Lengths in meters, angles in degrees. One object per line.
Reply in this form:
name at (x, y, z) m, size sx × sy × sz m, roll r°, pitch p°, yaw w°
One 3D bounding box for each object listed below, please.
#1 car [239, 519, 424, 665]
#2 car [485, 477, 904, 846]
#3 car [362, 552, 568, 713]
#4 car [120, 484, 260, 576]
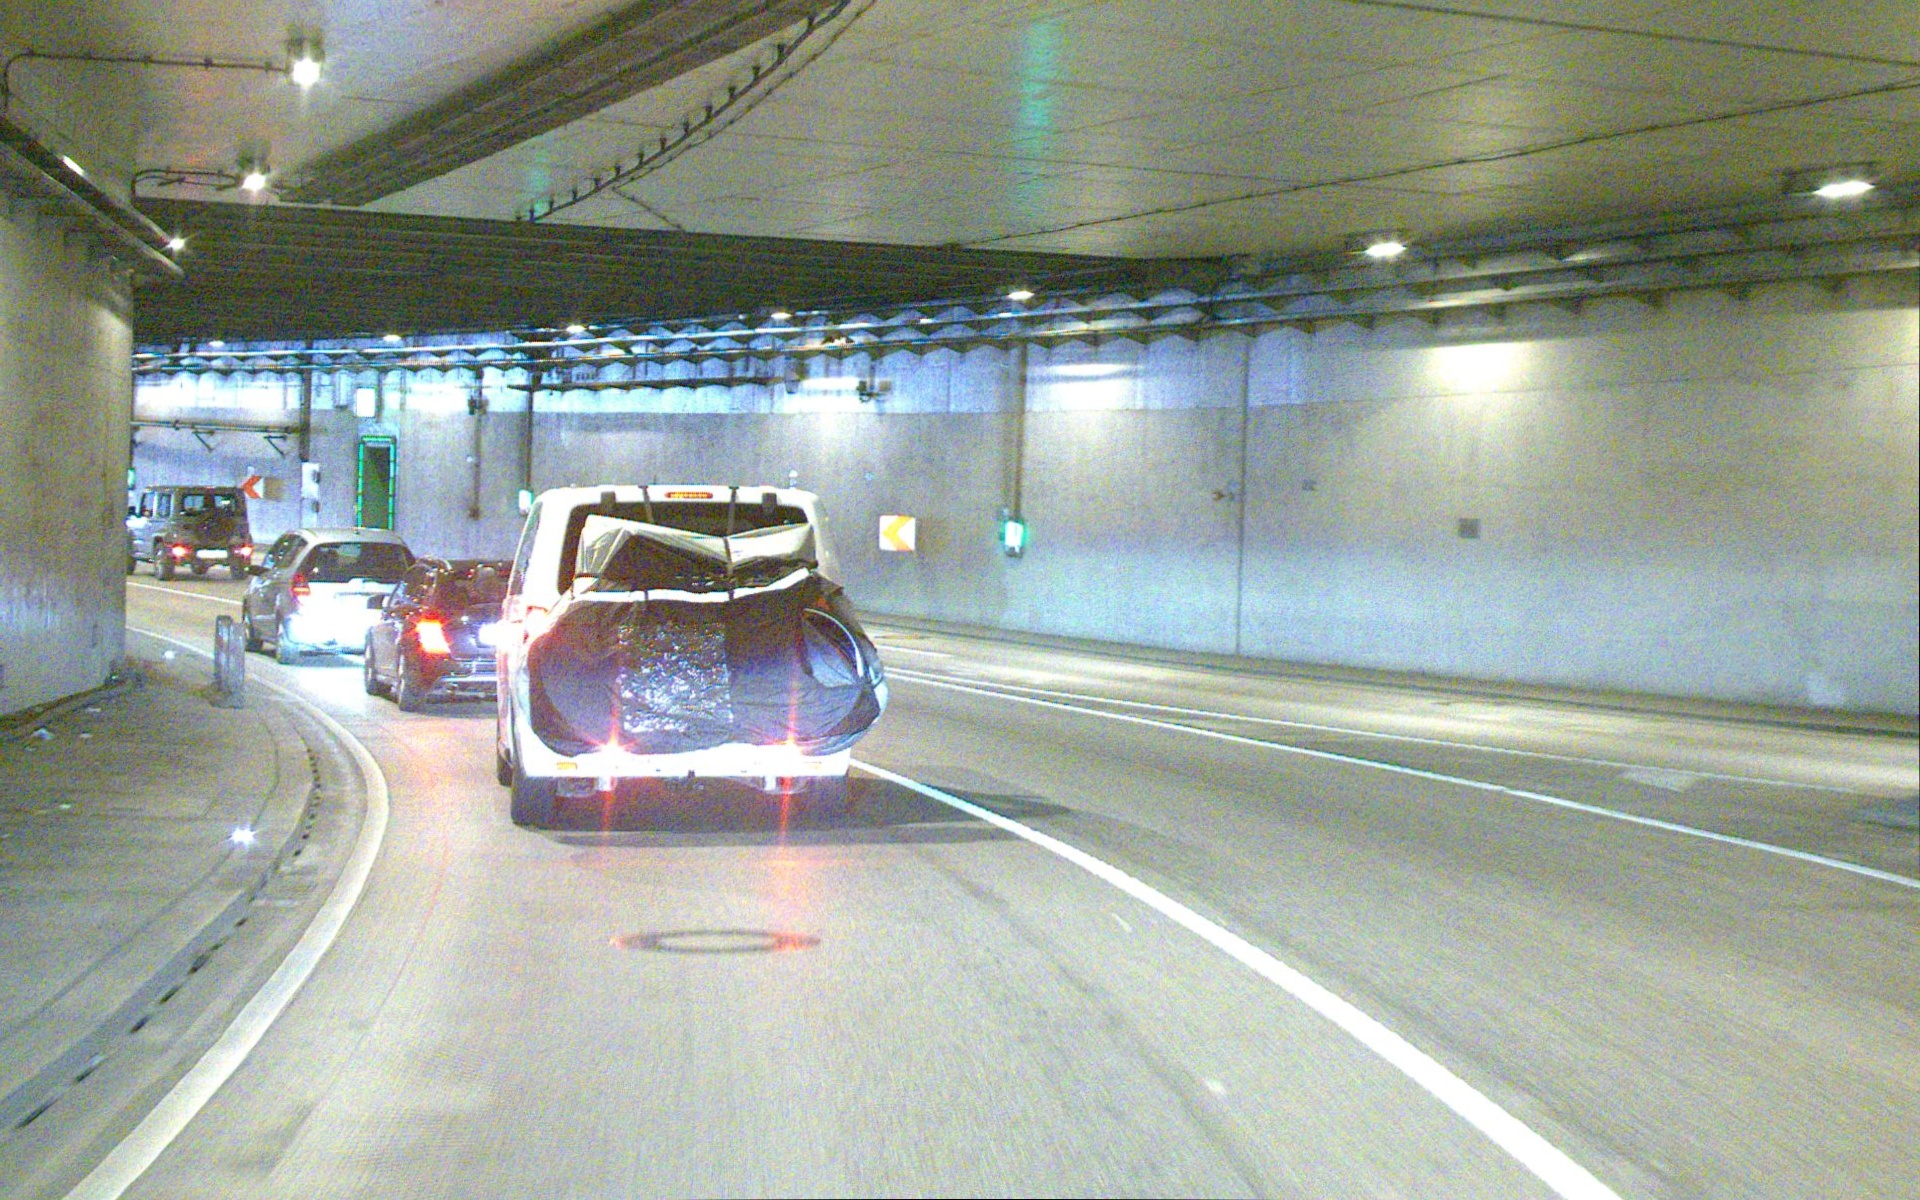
car at (-7.484, -0.102, 40.748) m, size 1.602 × 1.588 × 3.356 m, roll 3°, pitch 0°, yaw -19°
car at (-1.690, 0.269, 19.958) m, size 1.993 × 1.841 × 5.303 m, roll 0°, pitch 1°, yaw -9°
car at (-4.664, 0.274, 32.111) m, size 1.602 × 1.390 × 3.278 m, roll 0°, pitch 1°, yaw -13°
car at (-13.957, -1.277, 62.200) m, size 1.602 × 1.624 × 3.356 m, roll -1°, pitch 2°, yaw -29°
